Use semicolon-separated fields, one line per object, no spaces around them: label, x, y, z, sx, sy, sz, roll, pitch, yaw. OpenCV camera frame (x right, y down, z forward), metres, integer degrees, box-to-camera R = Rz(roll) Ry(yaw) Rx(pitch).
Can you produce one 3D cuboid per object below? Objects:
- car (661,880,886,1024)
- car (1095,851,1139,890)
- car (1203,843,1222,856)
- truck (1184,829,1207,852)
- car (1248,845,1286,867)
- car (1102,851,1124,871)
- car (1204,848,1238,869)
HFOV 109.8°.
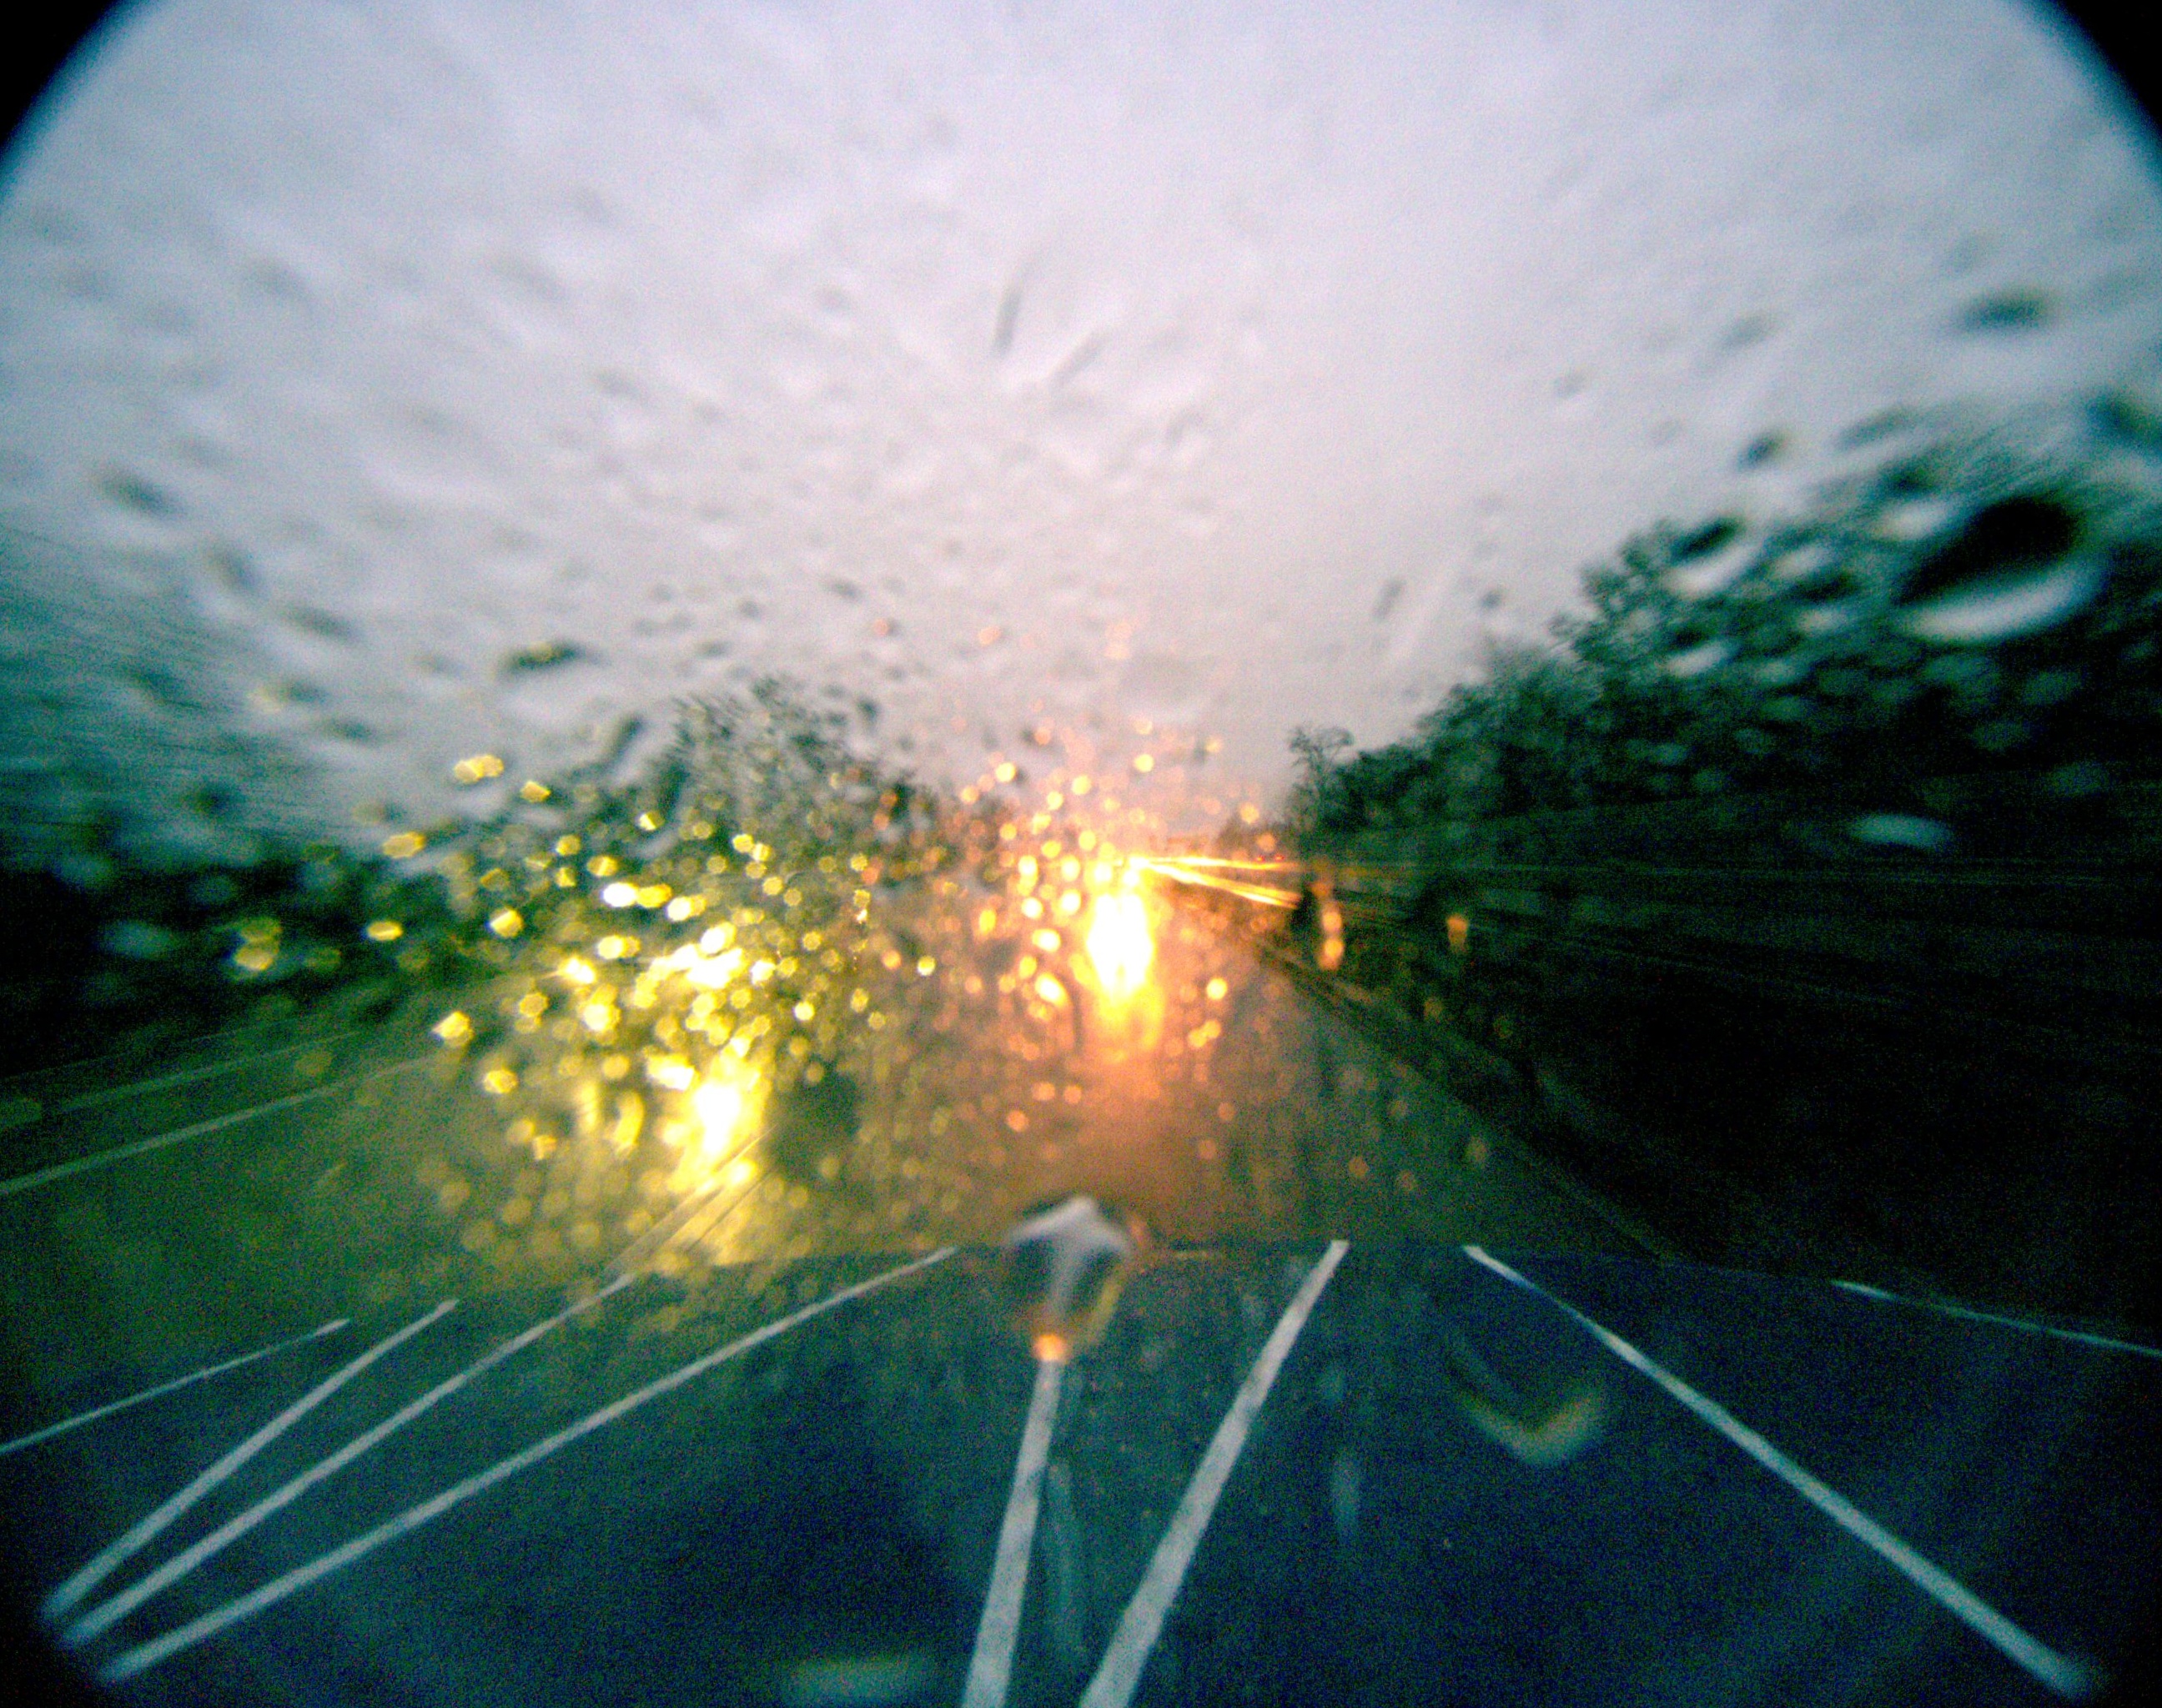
car;-4.038;1.184;10.762;1.595;1.445;4.175;-2;0;-3
car;1.602;0.694;33.560;1.758;1.521;4.000;-2;1;3
car;17.419;-0.645;100.836;1.998;1.639;4.000;-2;1;3
truck;20.016;-2.369;132.825;3.084;3.835;9.370;-2;1;4
car;14.327;0.121;58.744;1.998;1.505;4.284;-2;1;3
car;2.662;0.544;63.452;1.758;1.521;4.000;-2;1;3
car;10.789;0.287;58.946;1.869;1.473;4.672;-2;1;2
